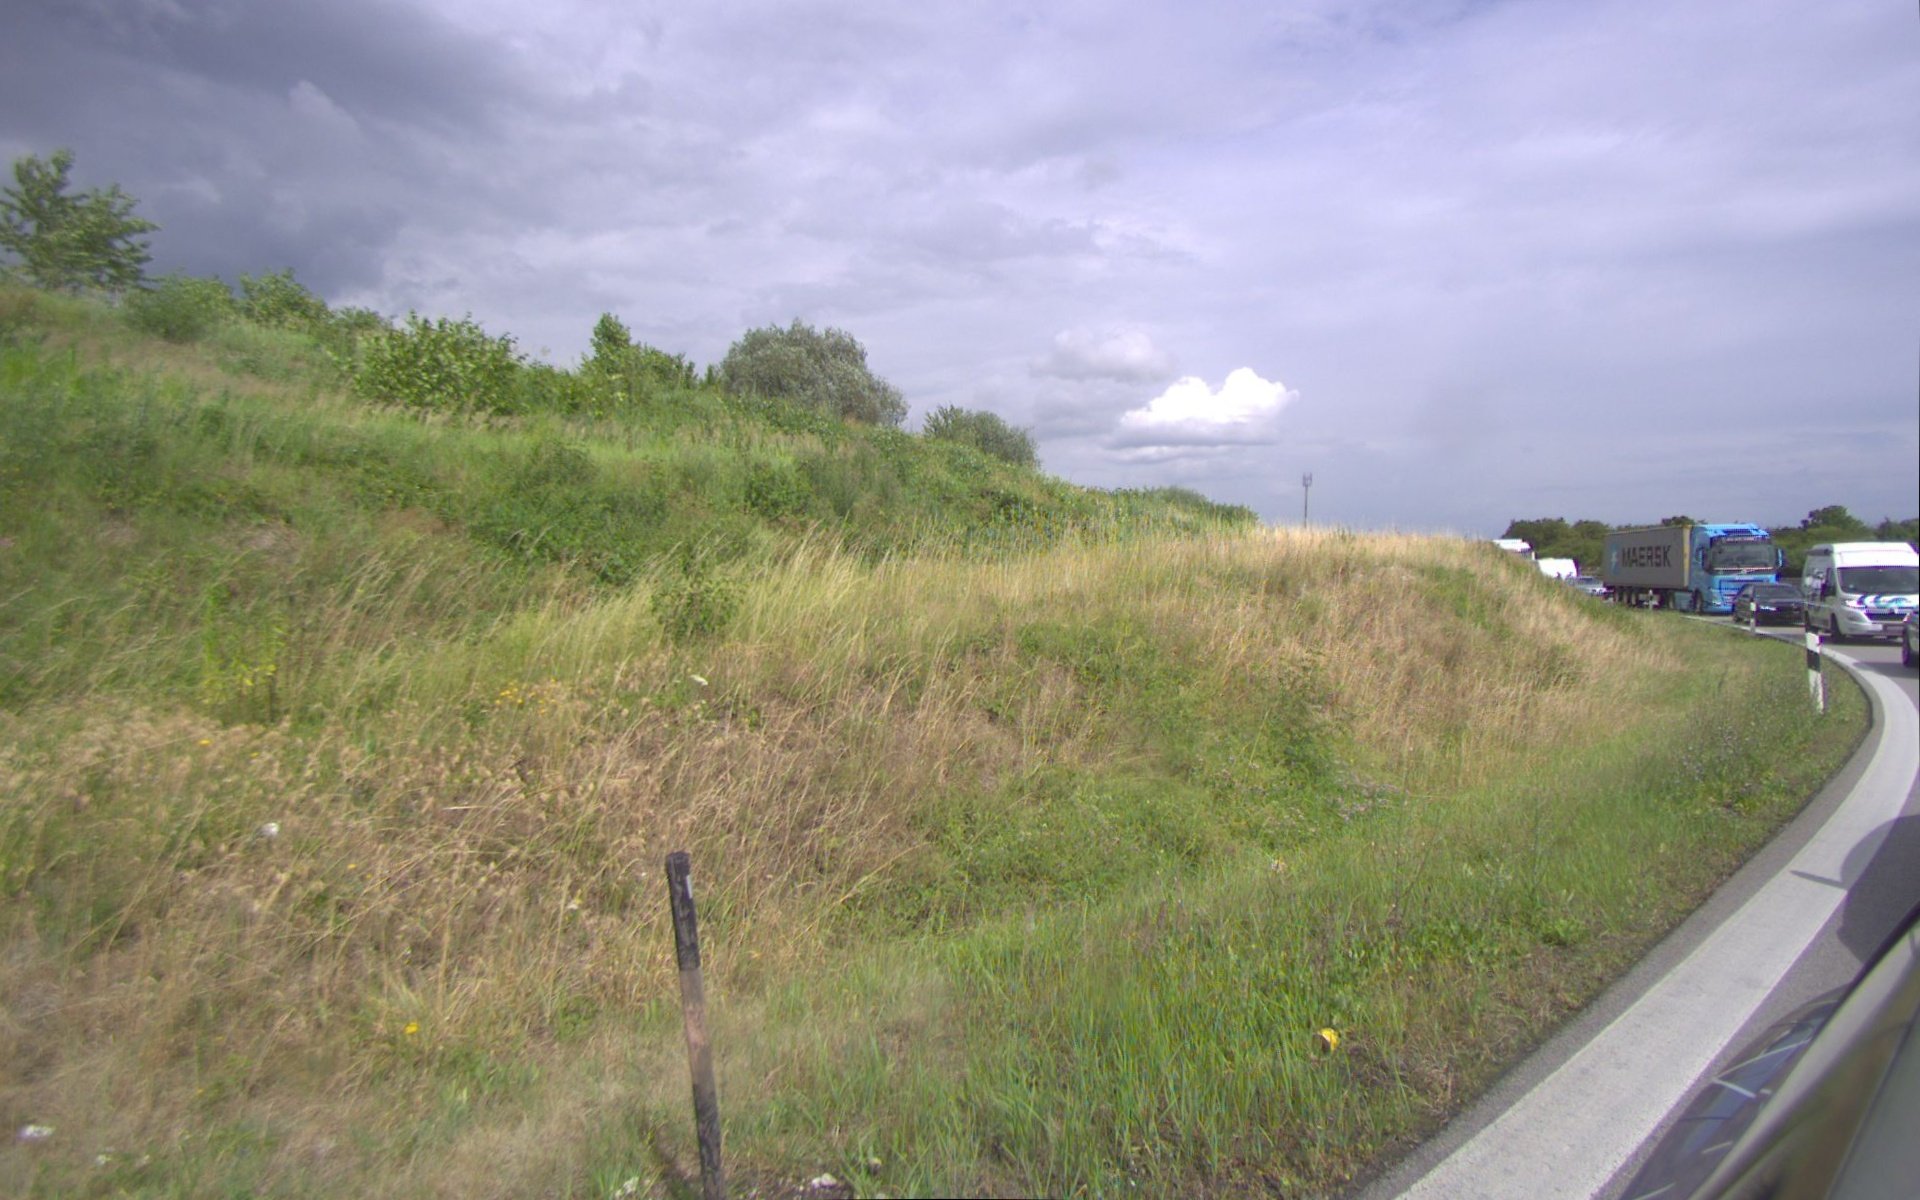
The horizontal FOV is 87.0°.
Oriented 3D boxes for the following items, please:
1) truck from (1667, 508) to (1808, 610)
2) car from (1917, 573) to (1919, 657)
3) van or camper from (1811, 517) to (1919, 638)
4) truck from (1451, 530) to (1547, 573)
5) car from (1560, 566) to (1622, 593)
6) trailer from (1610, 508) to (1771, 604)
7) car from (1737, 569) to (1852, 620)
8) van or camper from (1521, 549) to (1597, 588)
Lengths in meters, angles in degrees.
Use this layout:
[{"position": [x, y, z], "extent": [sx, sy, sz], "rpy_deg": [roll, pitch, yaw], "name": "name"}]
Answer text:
[{"position": [34.203, -1.724, 44.861], "extent": [3.142, 4.124, 6.601], "rpy_deg": [-1, 1, 21], "name": "truck"}, {"position": [18.257, 0.355, 17.694], "extent": [1.834, 1.615, 4.116], "rpy_deg": [2, 2, 38], "name": "car"}, {"position": [24.733, -0.597, 27.133], "extent": [2.384, 2.945, 5.649], "rpy_deg": [0, 1, 35], "name": "van or camper"}, {"position": [43.577, -3.839, 82.304], "extent": [3.072, 3.279, 11.141], "rpy_deg": [0, 2, 7], "name": "truck"}, {"position": [39.065, -1.276, 62.777], "extent": [1.969, 1.548, 3.988], "rpy_deg": [0, 3, 12], "name": "car"}, {"position": [36.506, -2.066, 51.247], "extent": [3.234, 4.213, 11.943], "rpy_deg": [-1, 1, 19], "name": "trailer"}, {"position": [29.431, -0.242, 35.842], "extent": [1.977, 1.638, 3.972], "rpy_deg": [1, 2, 22], "name": "car"}, {"position": [40.432, -2.181, 68.486], "extent": [2.512, 2.237, 5.699], "rpy_deg": [-1, 4, 10], "name": "van or camper"}]
